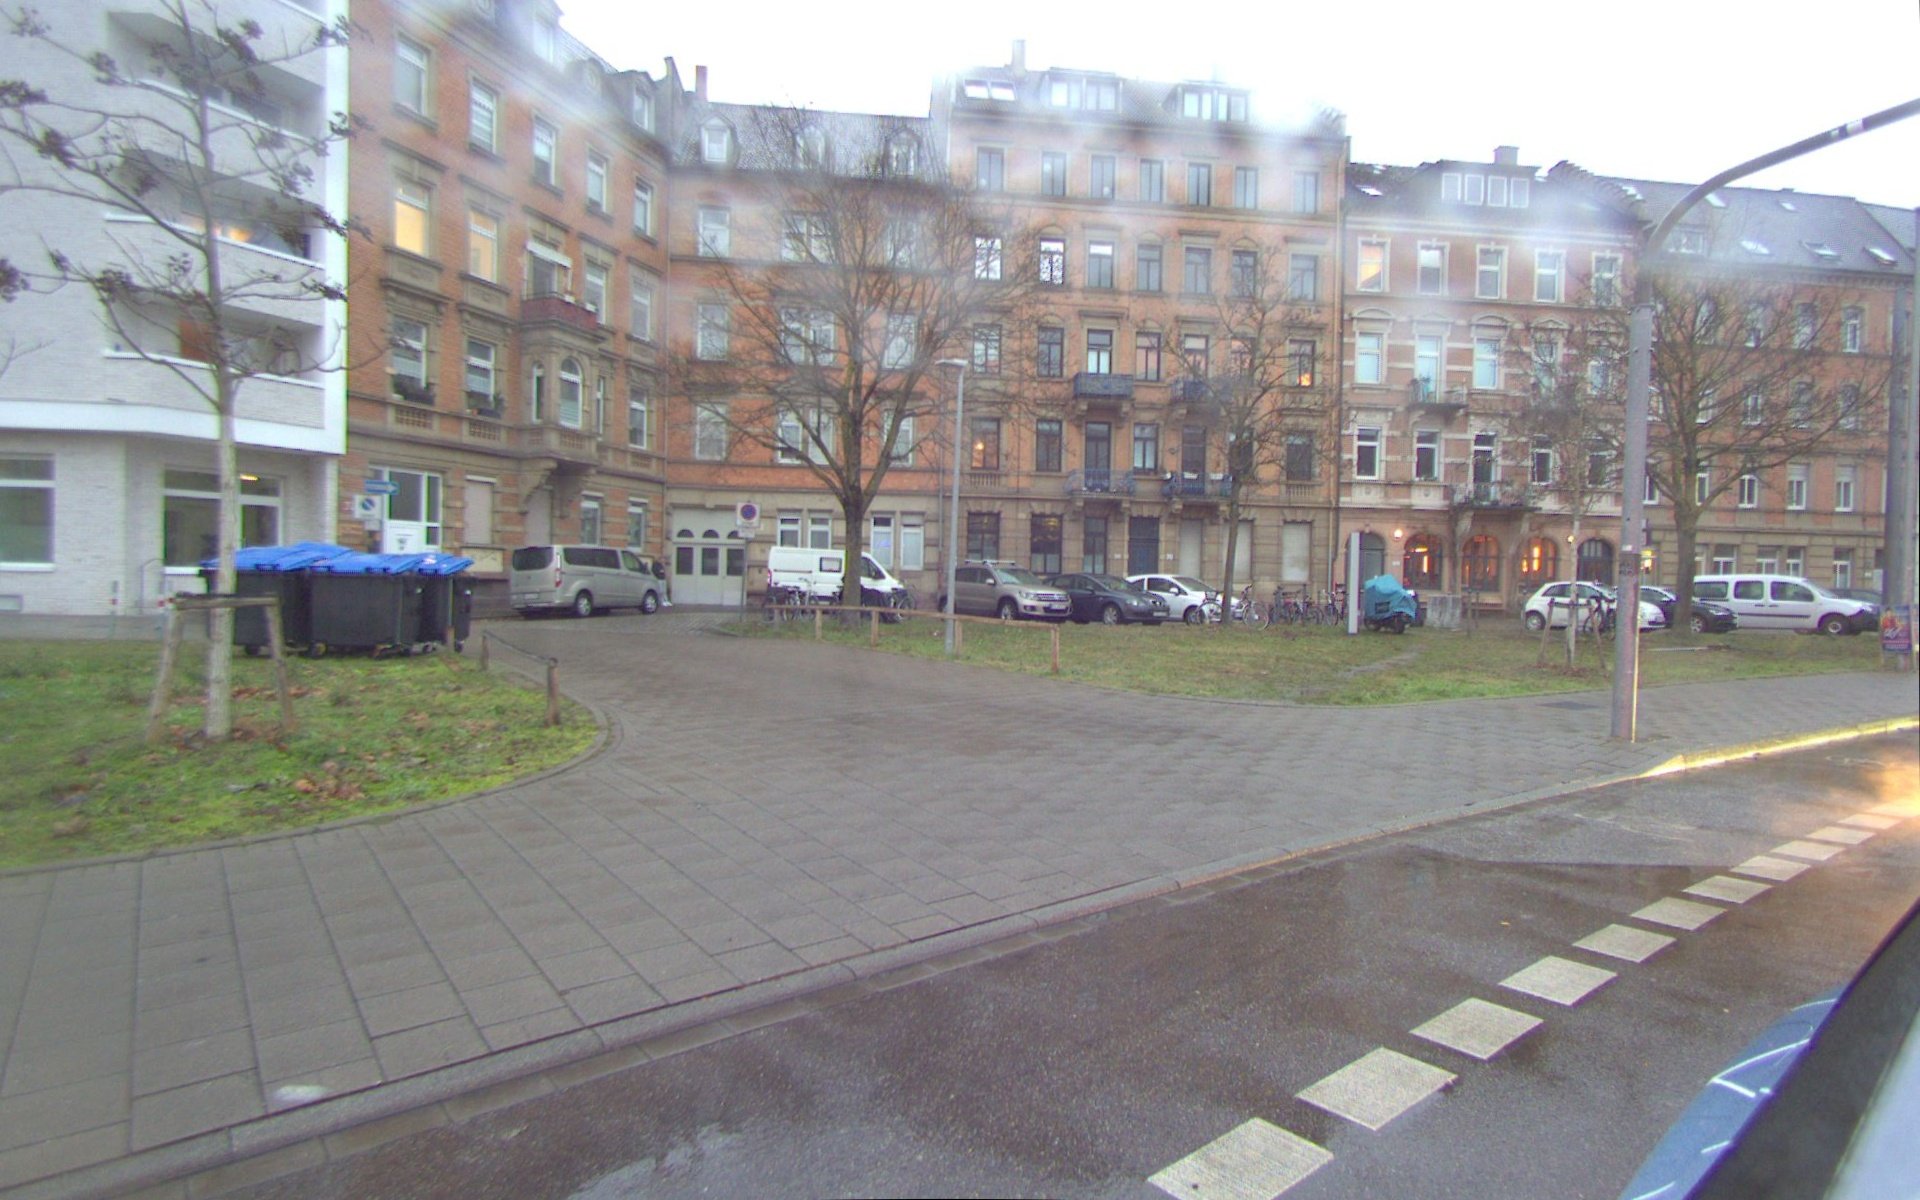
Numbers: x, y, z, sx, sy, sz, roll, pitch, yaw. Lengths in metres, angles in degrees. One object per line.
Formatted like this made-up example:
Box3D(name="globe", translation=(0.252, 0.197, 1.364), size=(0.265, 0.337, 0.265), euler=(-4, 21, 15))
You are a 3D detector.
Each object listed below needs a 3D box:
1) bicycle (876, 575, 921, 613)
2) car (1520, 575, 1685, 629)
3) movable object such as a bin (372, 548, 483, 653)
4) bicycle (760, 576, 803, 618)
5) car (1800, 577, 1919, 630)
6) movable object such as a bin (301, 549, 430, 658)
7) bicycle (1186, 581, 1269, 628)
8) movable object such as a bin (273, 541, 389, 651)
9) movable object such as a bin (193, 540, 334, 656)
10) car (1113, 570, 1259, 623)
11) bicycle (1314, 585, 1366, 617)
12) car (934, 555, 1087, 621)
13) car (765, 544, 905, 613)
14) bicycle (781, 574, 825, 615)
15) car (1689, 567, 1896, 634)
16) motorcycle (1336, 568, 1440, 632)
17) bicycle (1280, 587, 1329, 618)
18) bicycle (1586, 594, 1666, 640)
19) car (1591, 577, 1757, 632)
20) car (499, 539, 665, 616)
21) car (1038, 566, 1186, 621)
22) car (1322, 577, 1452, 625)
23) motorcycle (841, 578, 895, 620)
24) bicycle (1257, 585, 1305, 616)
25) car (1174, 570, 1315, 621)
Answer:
Box3D(name="bicycle", translation=(-1.675, -0.178, 27.391), size=(0.437, 0.942, 1.798), euler=(0, 3, -30))
Box3D(name="car", translation=(18.317, 0.016, 28.984), size=(1.492, 1.417, 3.688), euler=(0, 1, -36))
Box3D(name="movable object such as a bin", translation=(-8.043, -0.004, 15.339), size=(1.118, 1.504, 1.053), euler=(1, 1, -1))
Box3D(name="bicycle", translation=(-4.475, -0.098, 25.304), size=(0.437, 0.942, 1.798), euler=(0, 3, -30))
Box3D(name="car", translation=(27.154, 0.089, 29.360), size=(1.668, 1.463, 3.968), euler=(1, 1, -31))
Box3D(name="movable object such as a bin", translation=(-8.321, 0.033, 14.220), size=(1.201, 1.450, 1.053), euler=(1, 1, -1))
Box3D(name="bicycle", translation=(6.461, 0.101, 24.481), size=(1.879, 1.031, 0.535), euler=(2, 3, 14))
Box3D(name="movable object such as a bin", translation=(-9.553, -0.075, 15.422), size=(1.118, 1.595, 1.053), euler=(1, 1, -1))
Box3D(name="movable object such as a bin", translation=(-9.626, -0.036, 14.036), size=(1.229, 1.529, 1.053), euler=(1, 1, -1))
Box3D(name="car", translation=(6.057, -0.127, 27.422), size=(1.638, 1.322, 3.687), euler=(0, 1, -37))
Box3D(name="bicycle", translation=(11.155, 0.028, 29.766), size=(0.386, 0.827, 1.800), euler=(1, 3, -16))
Box3D(name="car", translation=(1.223, -0.343, 26.439), size=(1.710, 1.589, 4.155), euler=(0, 1, -37))
Box3D(name="car", translation=(-4.251, -0.720, 34.450), size=(4.565, 2.216, 2.003), euler=(1, 1, -8))
Box3D(name="bicycle", translation=(-3.987, -0.154, 25.608), size=(0.437, 0.942, 1.798), euler=(0, 3, -30))
Box3D(name="car", translation=(24.140, -0.045, 29.490), size=(1.748, 1.790, 4.344), euler=(0, 1, -37))
Box3D(name="motorcycle", translation=(10.355, -0.034, 24.598), size=(0.866, 1.362, 2.364), euler=(0, 4, -22))
Box3D(name="bicycle", translation=(10.015, 0.054, 29.445), size=(0.436, 0.787, 1.800), euler=(1, 3, -13))
Box3D(name="bicycle", translation=(15.546, 0.370, 23.689), size=(0.437, 0.942, 1.799), euler=(1, 3, -8))
Box3D(name="car", translation=(20.895, 0.094, 29.730), size=(1.492, 1.455, 3.688), euler=(0, 1, -36))
Box3D(name="car", translation=(-10.538, -0.632, 28.599), size=(1.919, 1.966, 4.569), euler=(1, 1, 20))
Box3D(name="car", translation=(3.922, -0.211, 26.540), size=(1.710, 1.322, 3.687), euler=(0, 1, -37))
Box3D(name="car", translation=(12.740, -0.010, 30.326), size=(1.492, 1.322, 3.301), euler=(0, 1, -36))
Box3D(name="motorcycle", translation=(-2.328, -0.032, 25.448), size=(0.503, 0.942, 1.796), euler=(0, 3, -36))
Box3D(name="bicycle", translation=(9.337, 0.004, 29.508), size=(0.436, 0.804, 1.800), euler=(1, 3, -13))
Box3D(name="car", translation=(8.032, -0.165, 28.830), size=(1.493, 1.322, 3.687), euler=(0, 1, -37))
